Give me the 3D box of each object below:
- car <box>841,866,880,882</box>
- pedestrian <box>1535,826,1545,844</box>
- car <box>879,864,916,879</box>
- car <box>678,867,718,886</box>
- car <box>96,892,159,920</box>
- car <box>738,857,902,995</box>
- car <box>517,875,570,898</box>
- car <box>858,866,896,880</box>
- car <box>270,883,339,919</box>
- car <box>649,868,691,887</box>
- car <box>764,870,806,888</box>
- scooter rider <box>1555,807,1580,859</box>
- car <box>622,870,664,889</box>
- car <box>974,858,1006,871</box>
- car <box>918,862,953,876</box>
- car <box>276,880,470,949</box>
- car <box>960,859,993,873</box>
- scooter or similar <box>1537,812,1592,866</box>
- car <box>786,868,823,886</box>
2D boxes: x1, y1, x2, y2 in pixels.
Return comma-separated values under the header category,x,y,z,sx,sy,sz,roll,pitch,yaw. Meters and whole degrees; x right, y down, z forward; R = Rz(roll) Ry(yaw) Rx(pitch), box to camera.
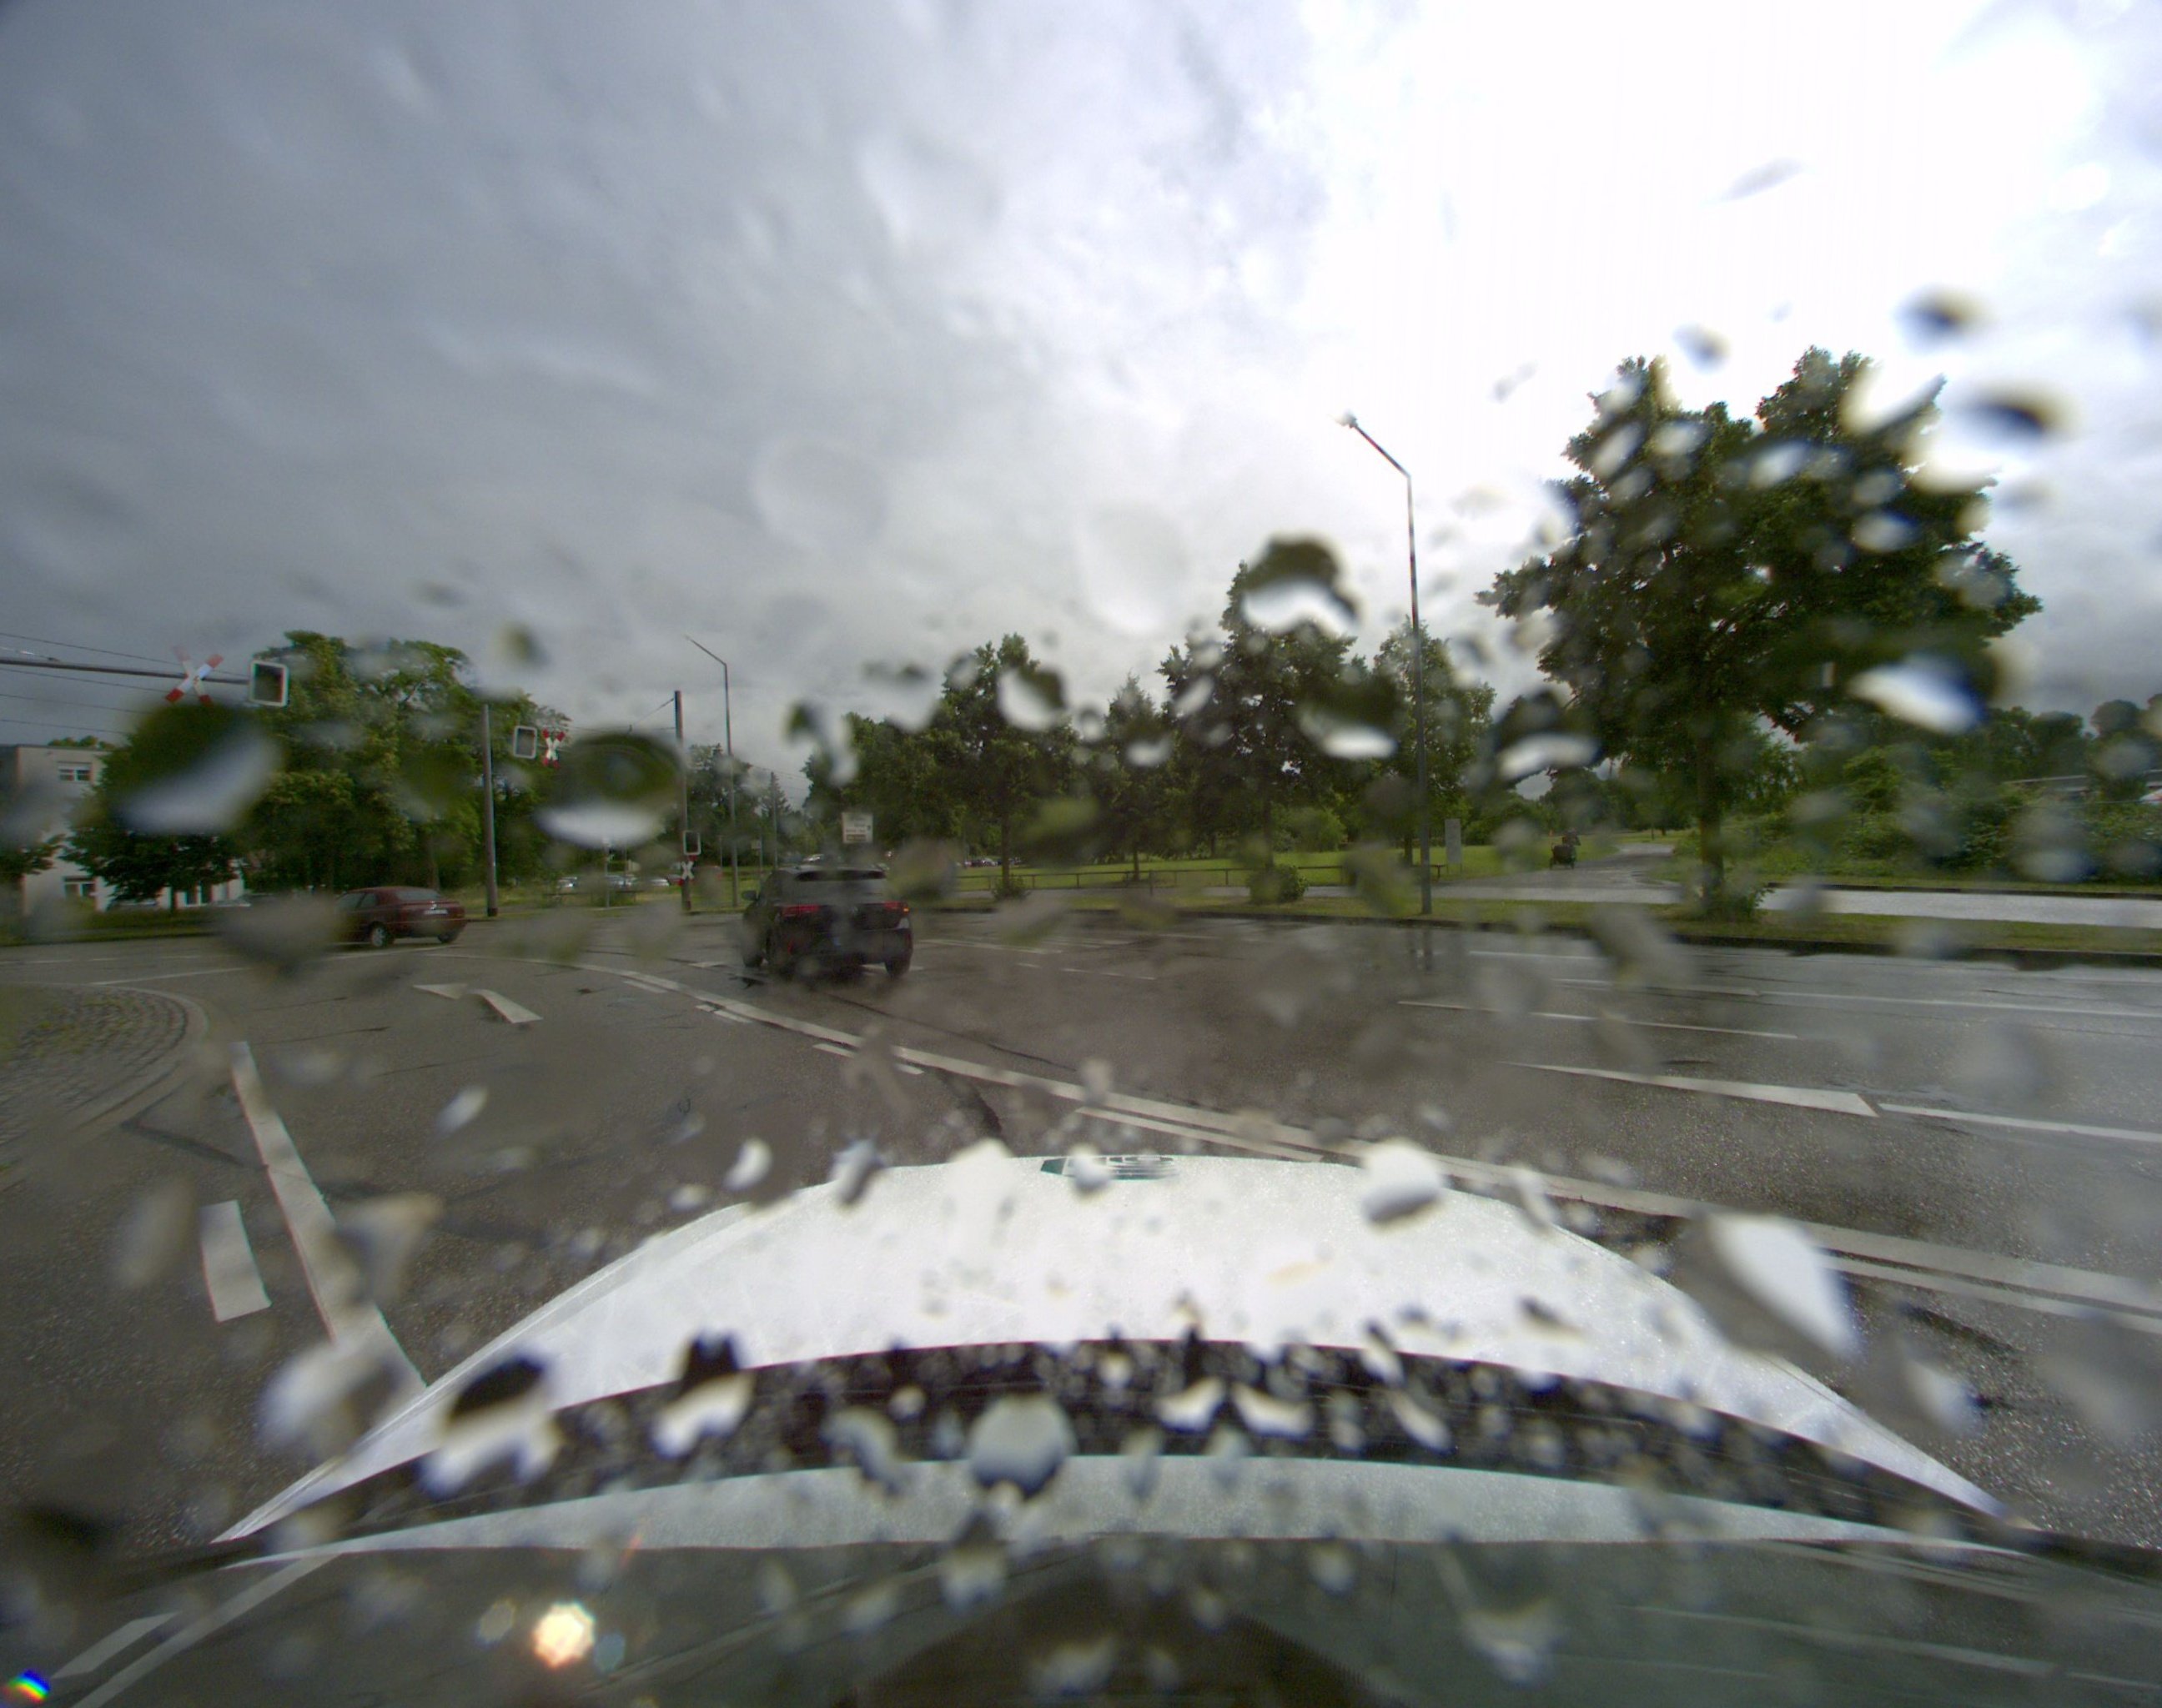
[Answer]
category,x,y,z,sx,sy,sz,roll,pitch,yaw
car,-24.405,2.220,89.991,3.927,1.559,1.862,-3,0,31
pedestrian,46.085,-1.885,81.783,0.605,1.732,0.596,-1,-2,-16
car,-21.362,2.028,94.617,3.927,1.559,1.862,-3,0,31
car,-34.462,2.040,73.229,3.602,1.510,1.661,-3,0,37
car,-61.172,3.315,52.243,4.053,1.552,1.864,0,1,30
car,-3.623,0.873,11.808,1.900,1.618,3.980,0,-1,-14
car,-41.015,2.468,62.129,3.927,1.559,1.862,-3,0,31
car,-23.151,2.172,92.440,3.927,1.308,1.862,-3,0,31
car,-48.872,2.911,51.235,5.094,2.057,2.127,-2,1,35
car,-35.898,2.057,71.123,3.564,1.461,1.656,-3,0,34
car,-29.742,2.518,81.693,3.948,1.527,1.810,-3,0,31
scooter rider,19.310,-0.825,32.327,0.697,2.014,0.775,-2,-2,38
car,-37.015,2.141,68.820,3.564,1.461,1.656,-3,0,34
car,-12.351,1.457,110.270,3.927,1.559,1.862,-3,0,31
car,-18.026,1.821,100.564,3.927,1.559,1.862,-3,0,31
car,-17.203,1.453,19.815,3.954,1.462,1.729,-2,1,19
car,-13.754,1.549,106.926,3.927,1.559,1.862,-3,0,31
scooter or similar,18.988,-0.543,31.941,1.224,2.014,3.430,-2,-2,41
car,-28.429,2.406,83.682,3.582,1.660,1.560,-3,0,31
